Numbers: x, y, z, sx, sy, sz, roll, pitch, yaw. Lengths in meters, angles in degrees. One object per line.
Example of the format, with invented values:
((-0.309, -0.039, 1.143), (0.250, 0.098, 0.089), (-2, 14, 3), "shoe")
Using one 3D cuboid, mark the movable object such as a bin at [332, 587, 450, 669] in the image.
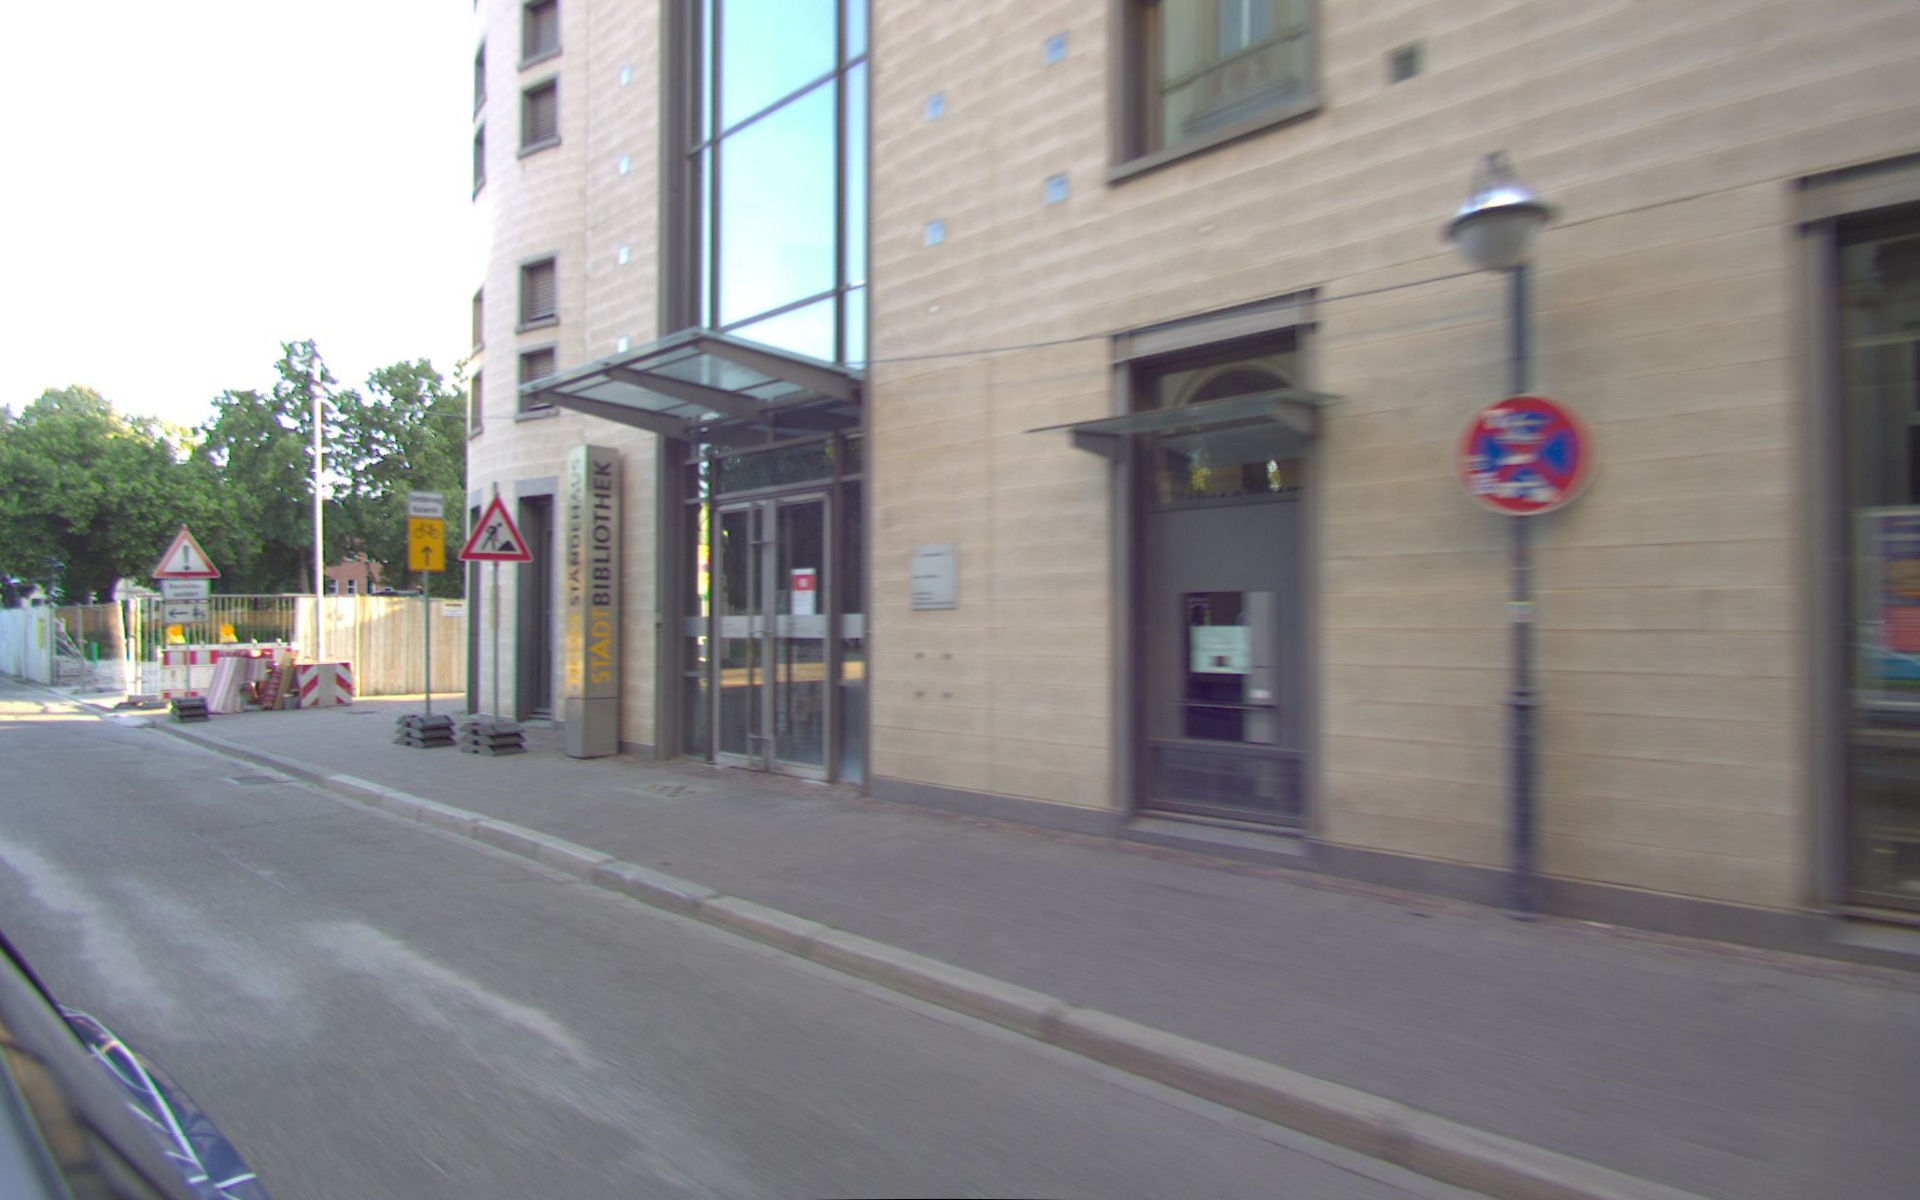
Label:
((-18.814, 0.926, 33.534), (2.727, 2.623, 2.145), (-1, -2, 20), "movable object such as a bin")
